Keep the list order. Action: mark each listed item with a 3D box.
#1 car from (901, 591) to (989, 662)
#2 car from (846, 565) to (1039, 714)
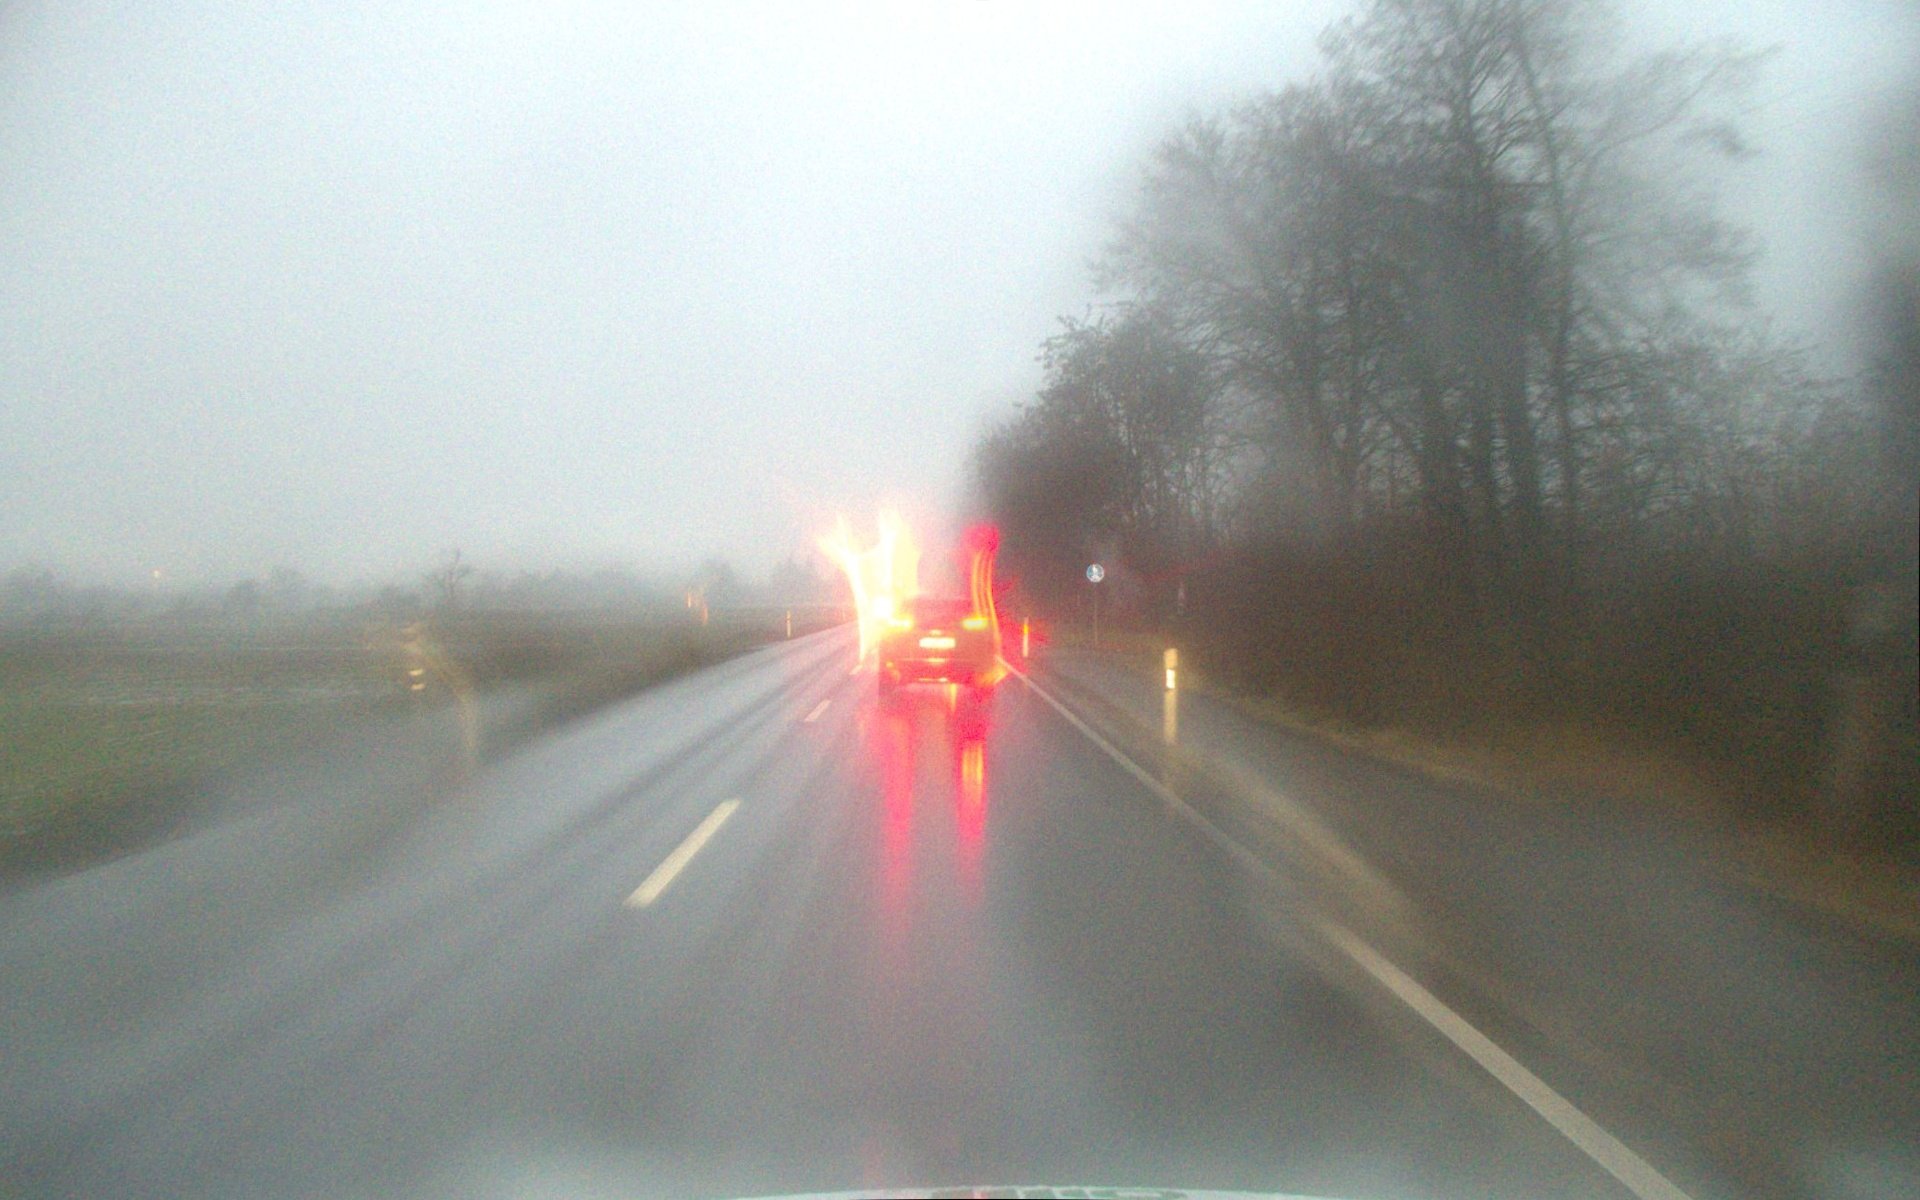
[{"bbox_3d":[-0.472,0.782,50.687,2.539,2.049,5.803,1,0,-1],"label":"car"},{"bbox_3d":[-0.285,0.588,26.800,2.763,2.113,5.803,1,0,-1],"label":"car"}]
